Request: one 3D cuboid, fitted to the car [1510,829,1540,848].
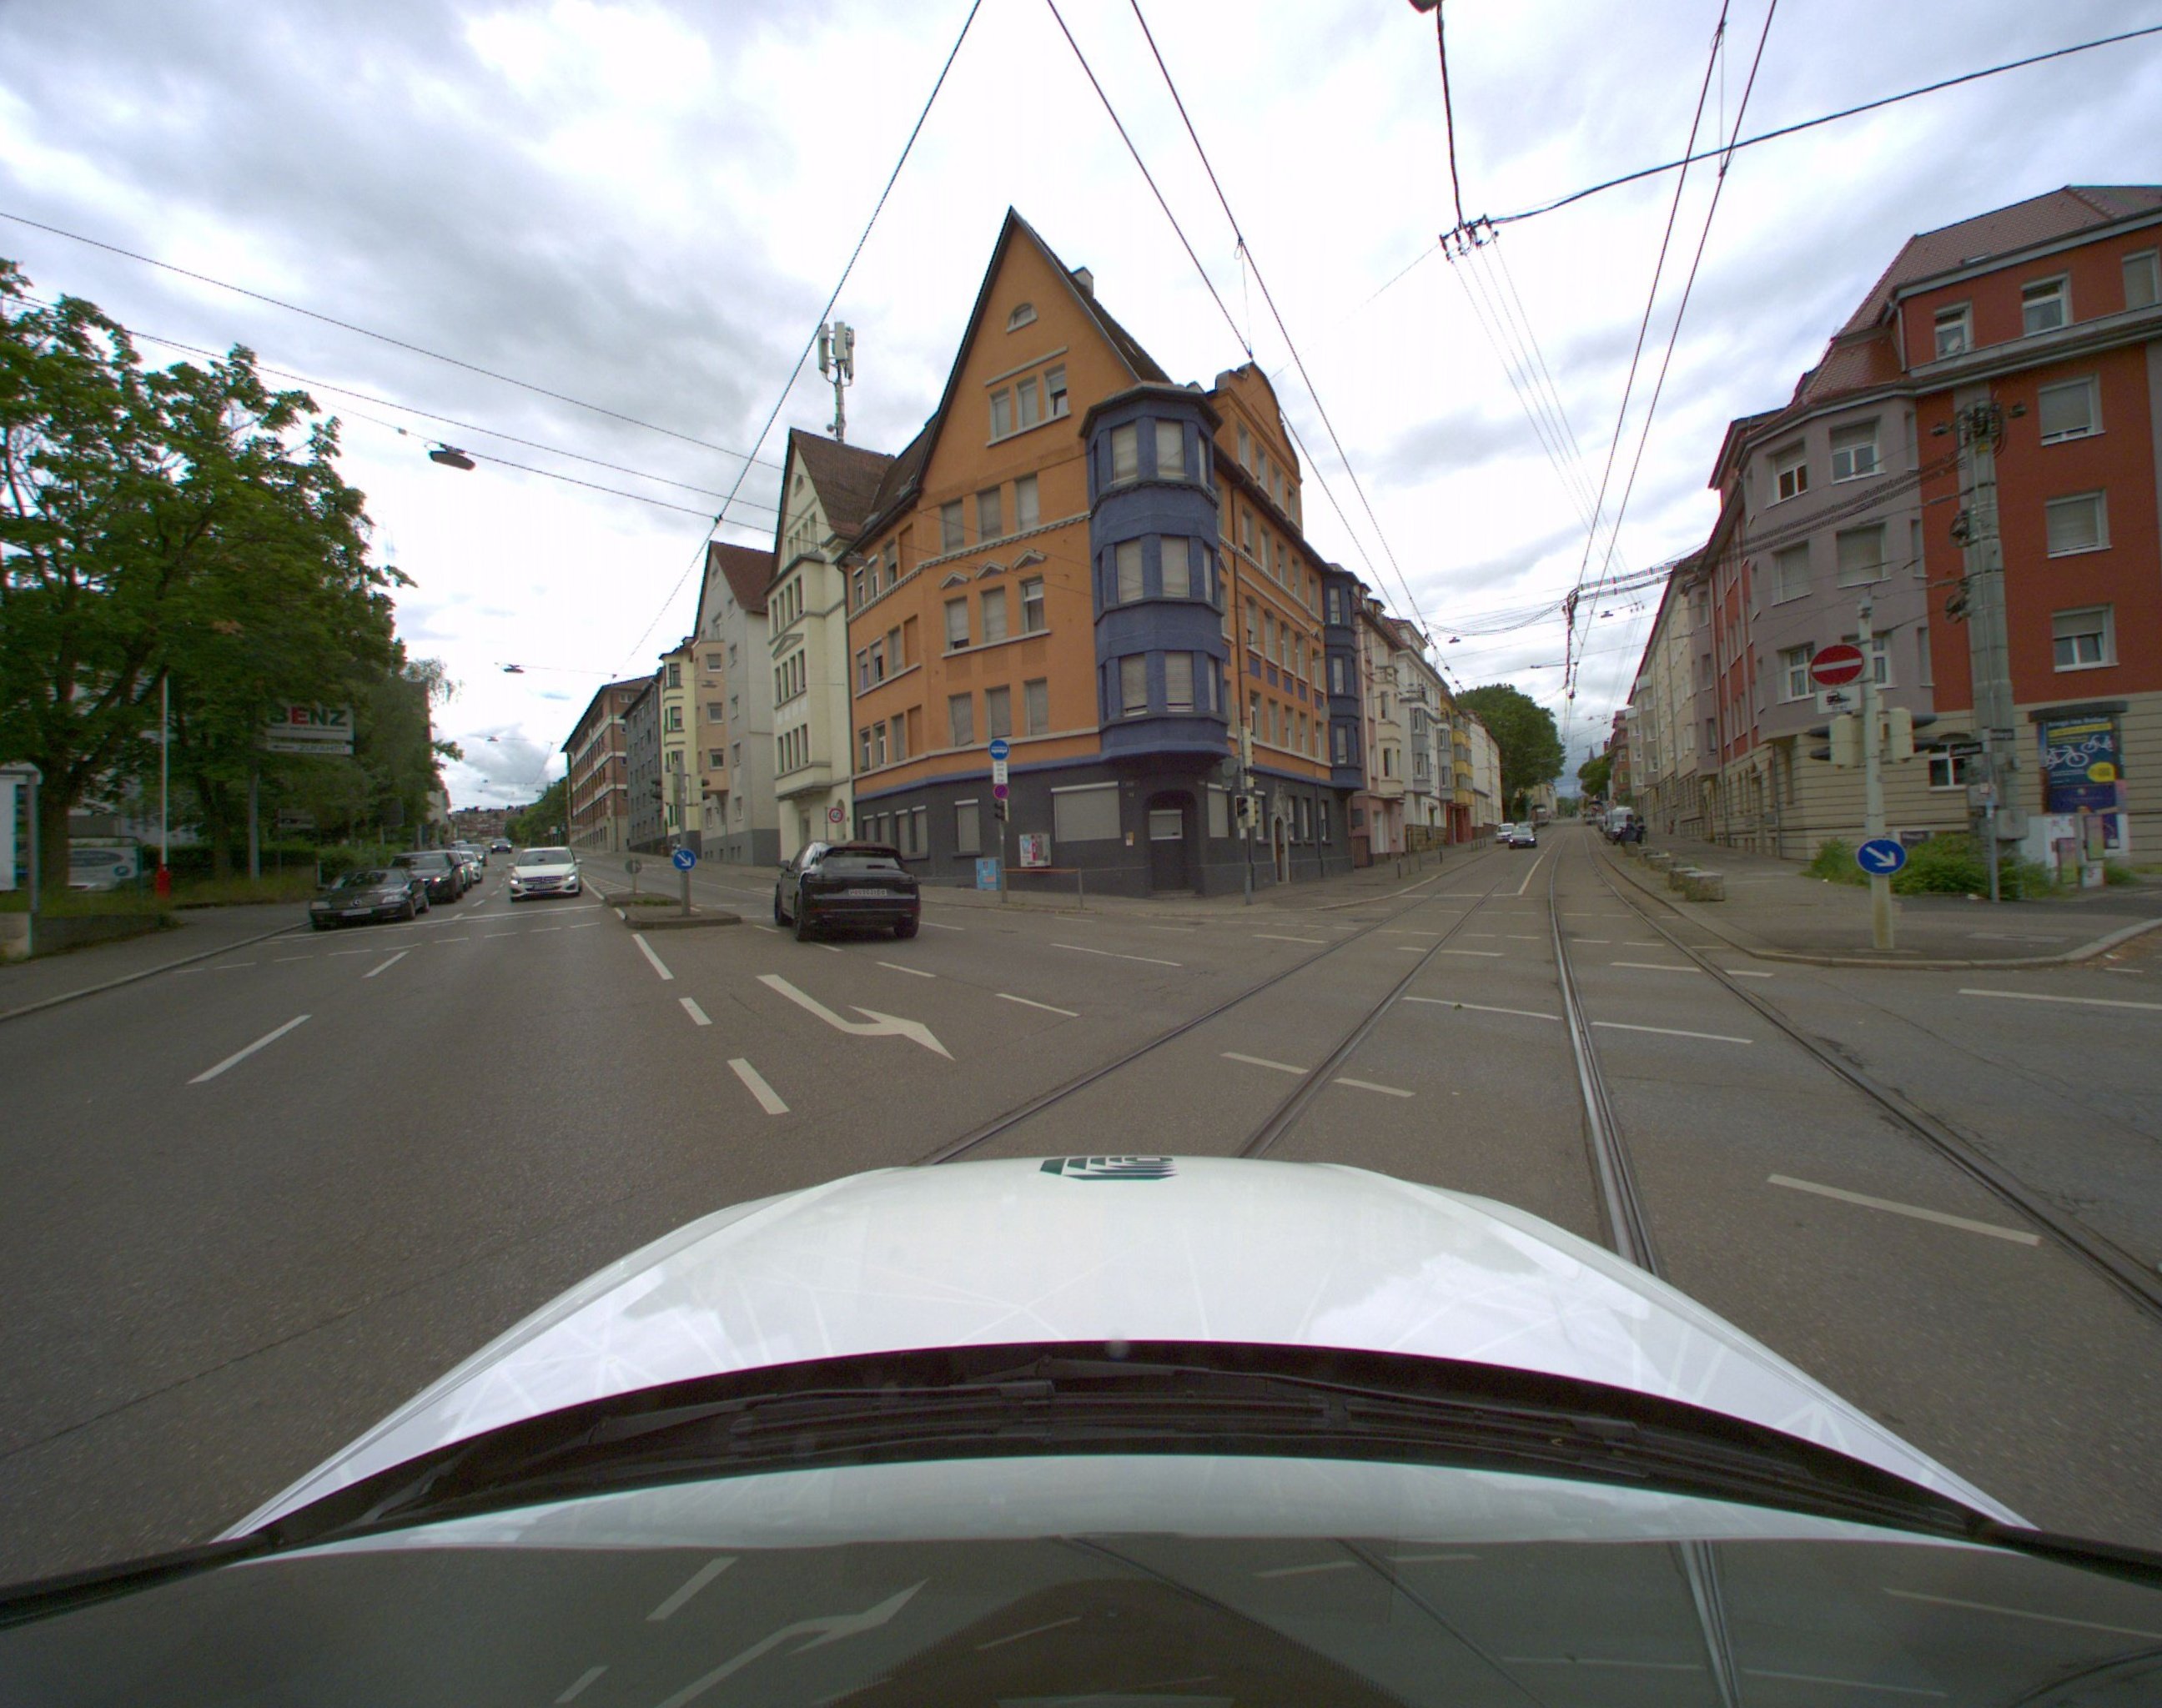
[{"bbox_3d":[32.103,-1.107,58.860,1.670,1.326,3.685,-1,1,32],"label":"car"}]

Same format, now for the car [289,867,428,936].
[{"bbox_3d":[-17.591,1.070,20.059,1.814,1.281,4.193,-5,3,-32],"label":"car"}]

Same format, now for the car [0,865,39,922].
[{"bbox_3d":[-29.907,1.067,21.500,1.719,1.501,3.959,2,-1,-33],"label":"car"}]

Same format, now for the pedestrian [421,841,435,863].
[{"bbox_3d":[-59.281,-0.150,73.945,0.889,1.950,0.858,1,0,-38],"label":"pedestrian"}]

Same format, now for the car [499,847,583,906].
[{"bbox_3d":[-17.012,0.638,25.822,1.787,1.546,4.284,-5,3,-29],"label":"car"}]

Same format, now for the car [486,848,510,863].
[{"bbox_3d":[-62.439,0.149,87.201,1.854,1.447,4.263,-4,2,-37],"label":"car"}]

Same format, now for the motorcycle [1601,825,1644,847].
[{"bbox_3d":[34.550,-1.145,51.993,2.158,1.326,0.703,-1,1,22],"label":"motorcycle"}]

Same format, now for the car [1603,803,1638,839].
[{"bbox_3d":[44.937,-2.719,67.915,2.245,2.890,4.800,-1,1,32],"label":"car"}]

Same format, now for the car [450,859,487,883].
[{"bbox_3d":[-41.046,1.099,54.640,1.854,1.447,4.263,-4,2,-37],"label":"car"}]

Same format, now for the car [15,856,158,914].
[{"bbox_3d":[-28.511,0.833,23.496,1.721,1.501,3.955,2,-1,-38],"label":"car"}]

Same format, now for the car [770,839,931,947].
[{"bbox_3d":[-4.335,0.599,14.804,2.035,1.641,4.318,0,0,-27],"label":"car"}]

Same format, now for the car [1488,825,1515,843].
[{"bbox_3d":[39.852,-1.895,77.148,1.974,1.692,4.026,-1,1,32],"label":"car"}]

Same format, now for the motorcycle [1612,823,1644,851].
[{"bbox_3d":[28.884,-0.883,43.047,0.852,1.326,2.196,-8,-2,22],"label":"motorcycle"}]

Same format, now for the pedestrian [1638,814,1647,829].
[{"bbox_3d":[60.034,-3.473,87.017,0.673,1.632,0.678,-2,-3,44],"label":"pedestrian"}]

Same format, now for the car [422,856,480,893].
[{"bbox_3d":[-28.541,0.867,37.002,1.854,1.412,4.029,-5,3,-36],"label":"car"}]

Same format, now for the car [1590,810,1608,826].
[{"bbox_3d":[76.658,-5.259,120.567,2.245,2.183,4.800,-1,1,32],"label":"car"}]

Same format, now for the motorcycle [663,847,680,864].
[{"bbox_3d":[-30.044,0.098,59.762,0.542,1.155,2.200,-5,4,-40],"label":"motorcycle"}]

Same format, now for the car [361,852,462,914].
[{"bbox_3d":[-21.082,0.821,25.814,1.966,1.642,4.367,-5,3,-34],"label":"car"}]

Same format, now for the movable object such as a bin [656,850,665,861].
[{"bbox_3d":[-33.795,0.131,65.463,0.478,0.891,0.511,-5,3,-38],"label":"movable object such as a bin"}]

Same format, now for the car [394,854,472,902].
[{"bbox_3d":[-25.270,0.874,31.897,1.966,1.593,4.450,-5,3,-35],"label":"car"}]
